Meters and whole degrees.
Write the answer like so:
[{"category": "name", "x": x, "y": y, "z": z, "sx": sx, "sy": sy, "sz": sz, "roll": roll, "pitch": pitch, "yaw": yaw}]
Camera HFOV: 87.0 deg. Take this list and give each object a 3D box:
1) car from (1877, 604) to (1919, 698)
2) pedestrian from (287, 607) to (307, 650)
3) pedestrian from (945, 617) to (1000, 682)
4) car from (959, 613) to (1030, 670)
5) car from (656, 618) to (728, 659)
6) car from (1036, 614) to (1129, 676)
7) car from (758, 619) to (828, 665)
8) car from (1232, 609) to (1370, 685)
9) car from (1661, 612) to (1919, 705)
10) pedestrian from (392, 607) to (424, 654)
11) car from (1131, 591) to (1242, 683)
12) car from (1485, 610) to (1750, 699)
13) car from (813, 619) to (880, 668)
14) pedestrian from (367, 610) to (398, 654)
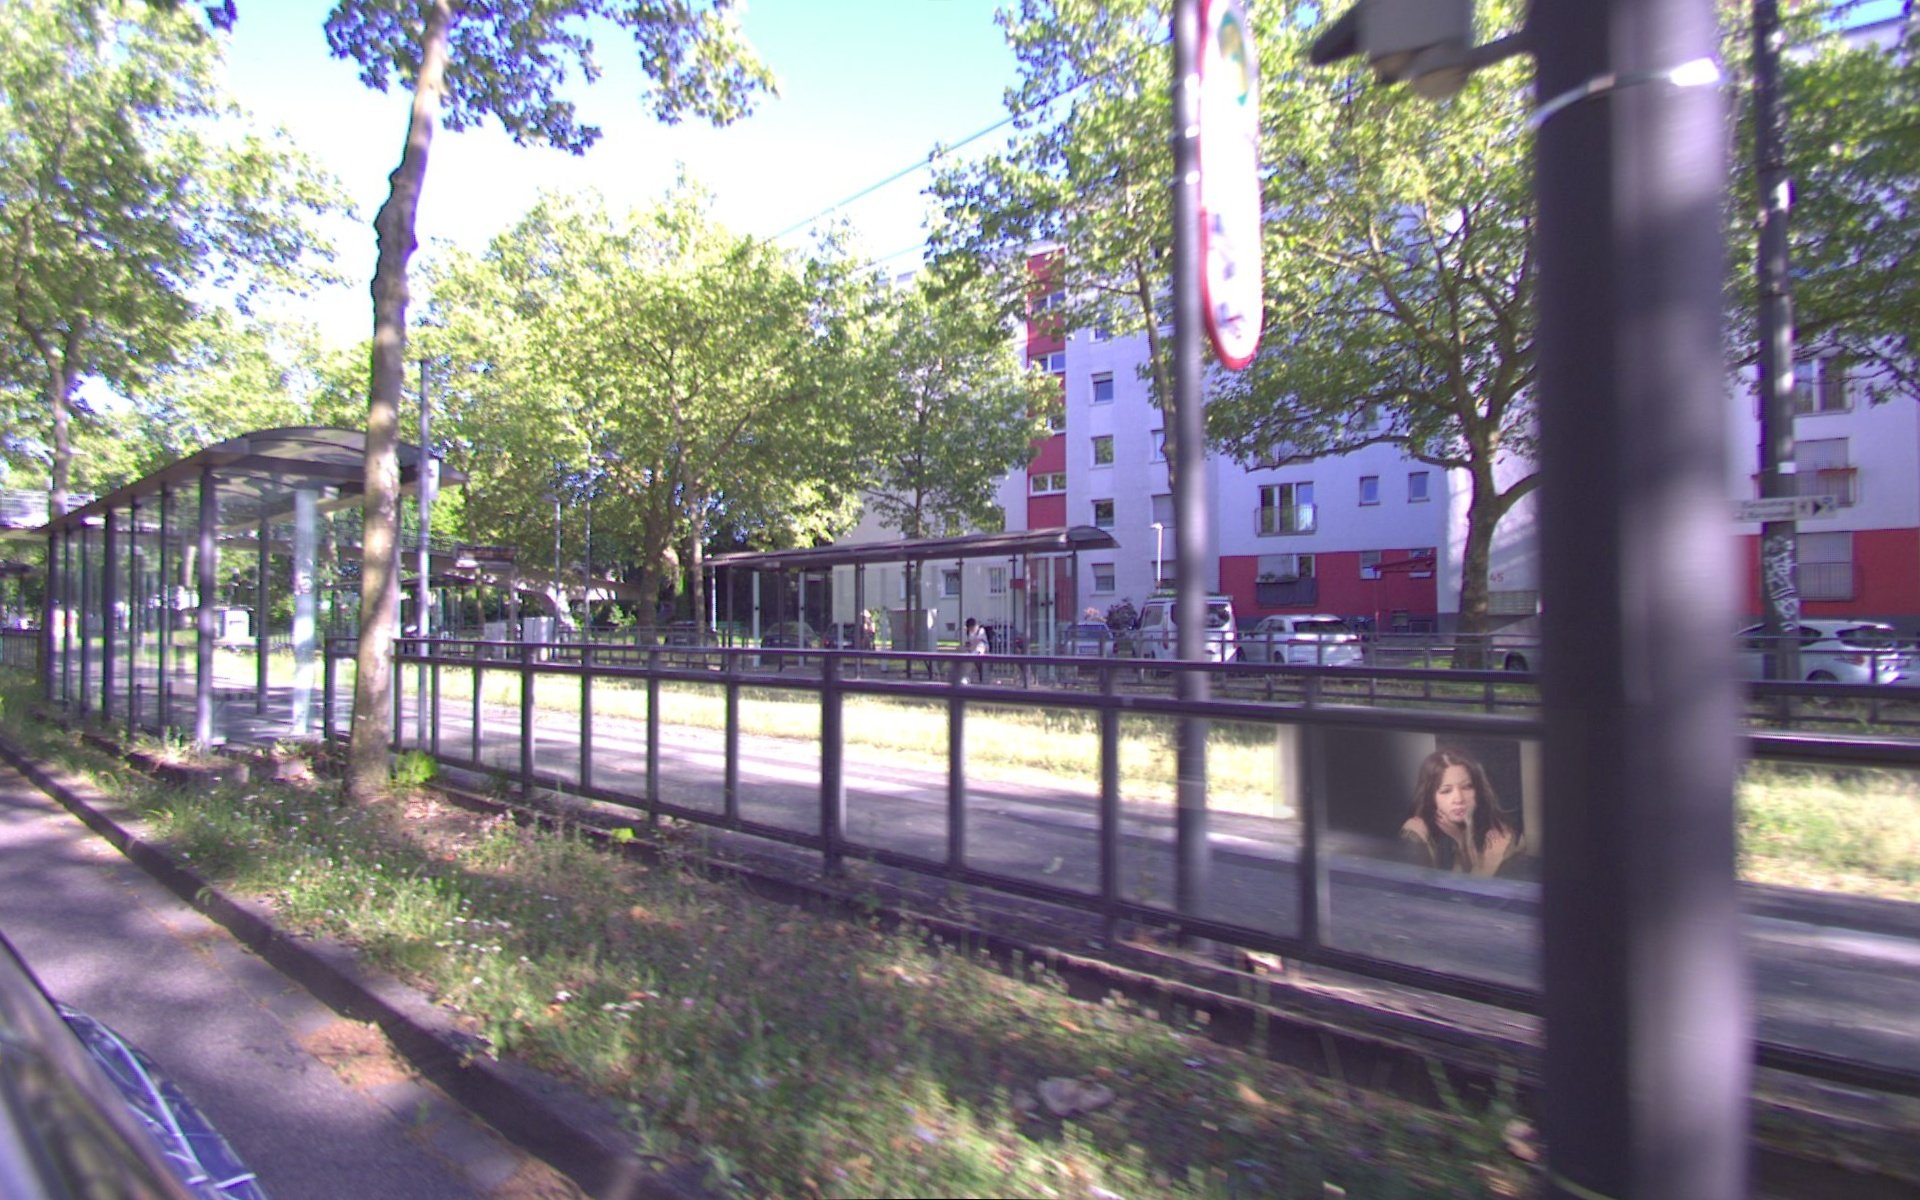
[{"category": "car", "x": 17.481, "y": 0.841, "z": 16.157, "sx": 1.551, "sy": 1.580, "sz": 4.067, "roll": -3, "pitch": -1, "yaw": -8}, {"category": "pedestrian", "x": -27.281, "y": 1.165, "z": 41.618, "sx": 0.477, "sy": 1.784, "sz": 0.504, "roll": -1, "pitch": 0, "yaw": 0}, {"category": "pedestrian", "x": 0.224, "y": 0.883, "z": 18.172, "sx": 0.662, "sy": 1.136, "sz": 0.687, "roll": -1, "pitch": -4, "yaw": 41}, {"category": "car", "x": 0.981, "y": 1.222, "z": 31.176, "sx": 1.873, "sy": 1.509, "sz": 4.501, "roll": -2, "pitch": 0, "yaw": -2}, {"category": "car", "x": -10.827, "y": 1.516, "z": 41.175, "sx": 1.677, "sy": 1.439, "sz": 4.198, "roll": -2, "pitch": 0, "yaw": 2}, {"category": "car", "x": 3.337, "y": 1.196, "z": 28.408, "sx": 1.873, "sy": 1.509, "sz": 4.501, "roll": -2, "pitch": 0, "yaw": -2}, {"category": "car", "x": -5.944, "y": 1.458, "z": 36.490, "sx": 1.677, "sy": 1.439, "sz": 4.198, "roll": -2, "pitch": 0, "yaw": 2}, {"category": "car", "x": 8.062, "y": 1.063, "z": 24.345, "sx": 1.664, "sy": 1.623, "sz": 4.063, "roll": -2, "pitch": -1, "yaw": -3}, {"category": "car", "x": 15.149, "y": 0.972, "z": 18.402, "sx": 1.551, "sy": 1.443, "sz": 4.067, "roll": -2, "pitch": -1, "yaw": -8}, {"category": "pedestrian", "x": -19.519, "y": 1.086, "z": 35.784, "sx": 0.714, "sy": 1.647, "sz": 0.722, "roll": -1, "pitch": -2, "yaw": 38}, {"category": "car", "x": 5.678, "y": 0.875, "z": 25.985, "sx": 1.874, "sy": 2.078, "sz": 4.497, "roll": -2, "pitch": 0, "yaw": 2}, {"category": "car", "x": 12.860, "y": 0.998, "z": 20.219, "sx": 1.870, "sy": 1.515, "sz": 4.508, "roll": -2, "pitch": -1, "yaw": -8}, {"category": "car", "x": -3.813, "y": 1.433, "z": 34.657, "sx": 1.677, "sy": 1.439, "sz": 4.198, "roll": -2, "pitch": 0, "yaw": 2}, {"category": "pedestrian", "x": -20.250, "y": 1.129, "z": 35.485, "sx": 0.681, "sy": 1.525, "sz": 0.638, "roll": 0, "pitch": -3, "yaw": 28}]
